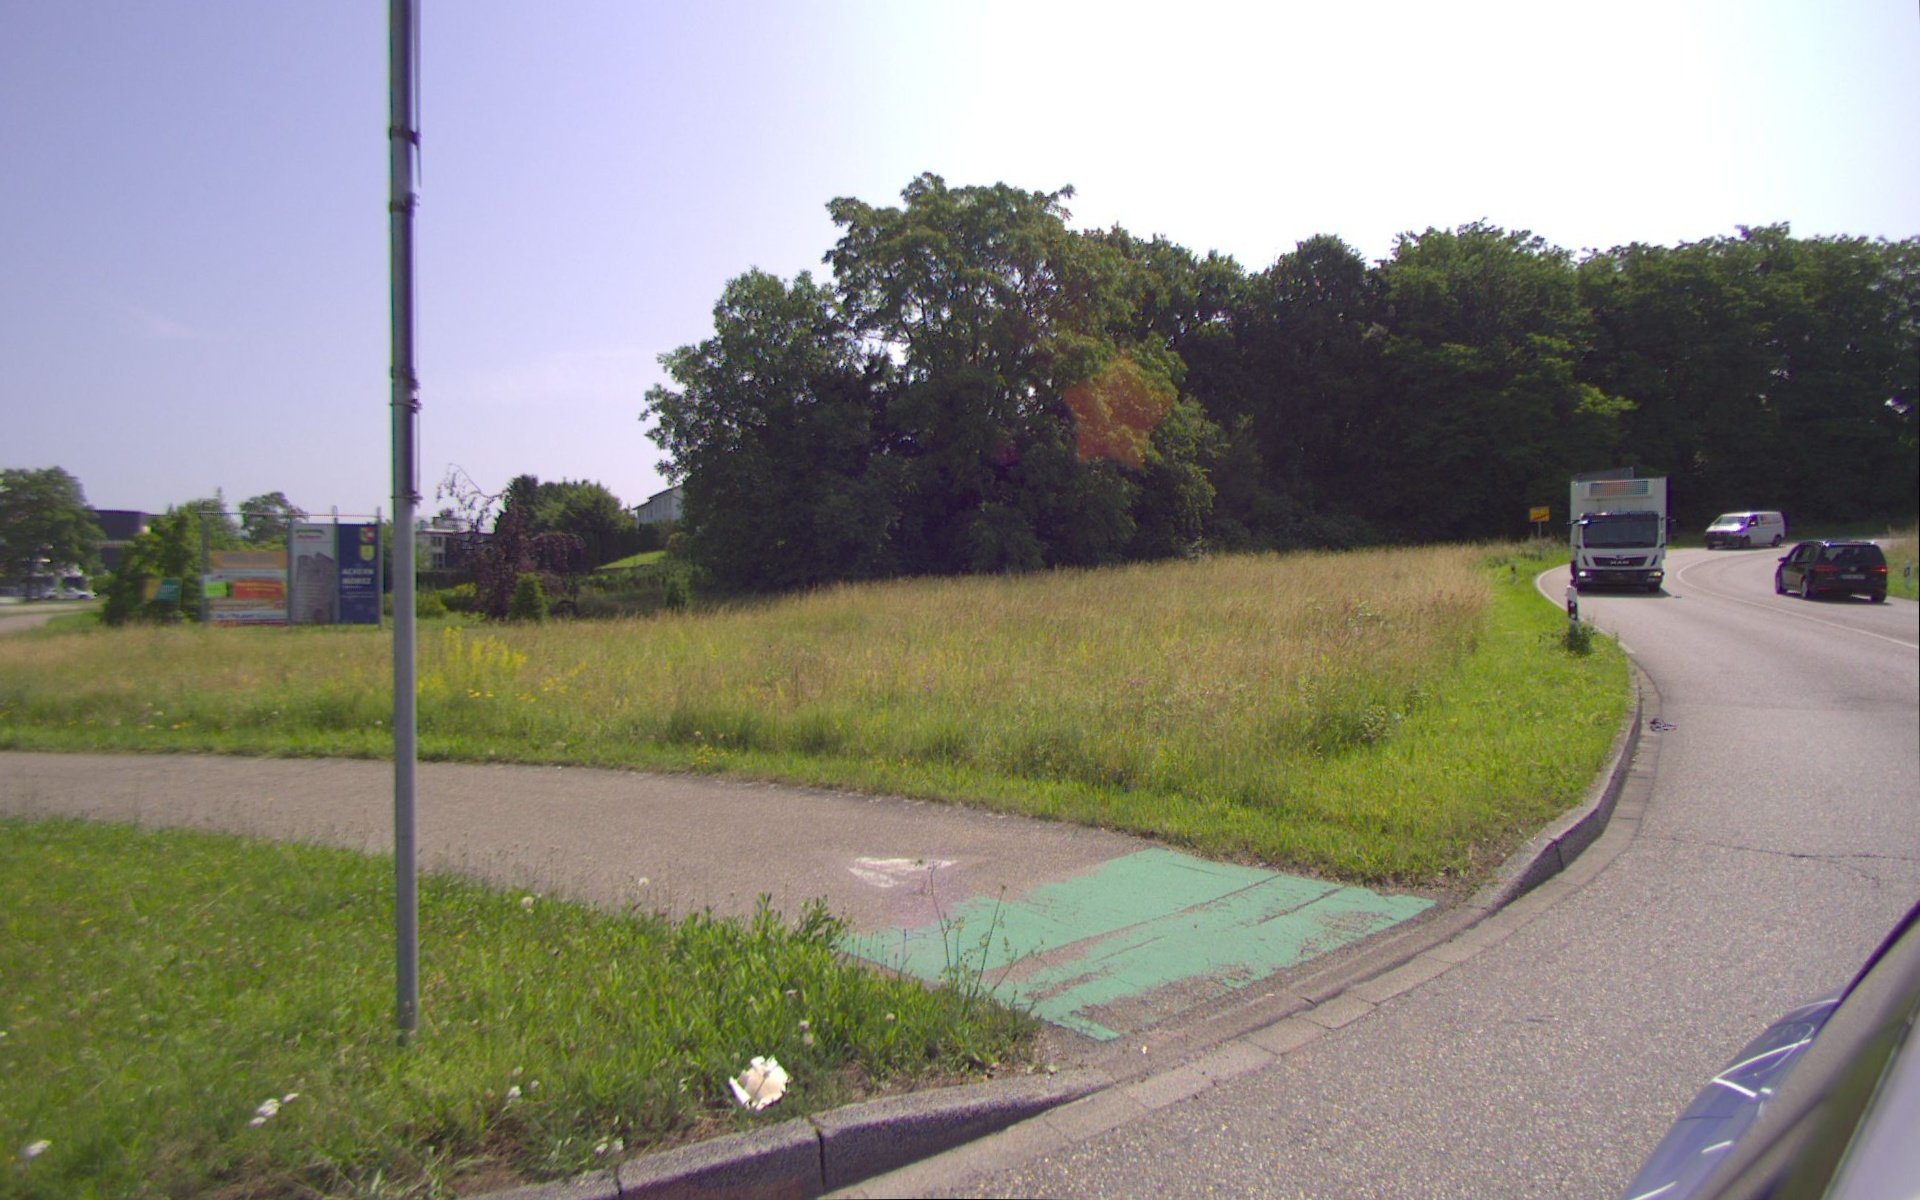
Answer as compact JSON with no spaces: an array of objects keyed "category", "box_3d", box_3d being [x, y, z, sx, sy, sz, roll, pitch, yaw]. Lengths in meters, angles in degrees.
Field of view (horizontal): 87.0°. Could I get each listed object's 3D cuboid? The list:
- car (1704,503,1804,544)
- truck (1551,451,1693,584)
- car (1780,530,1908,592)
[{"category":"car","box_3d":[43.580,-4.210,55.556,5.488,2.039,2.003,-3,1,-25]},{"category":"truck","box_3d":[22.187,-2.624,34.412,2.871,3.876,8.946,-1,2,26]},{"category":"car","box_3d":[24.833,-1.091,28.592,1.897,1.615,4.327,1,2,30]}]
